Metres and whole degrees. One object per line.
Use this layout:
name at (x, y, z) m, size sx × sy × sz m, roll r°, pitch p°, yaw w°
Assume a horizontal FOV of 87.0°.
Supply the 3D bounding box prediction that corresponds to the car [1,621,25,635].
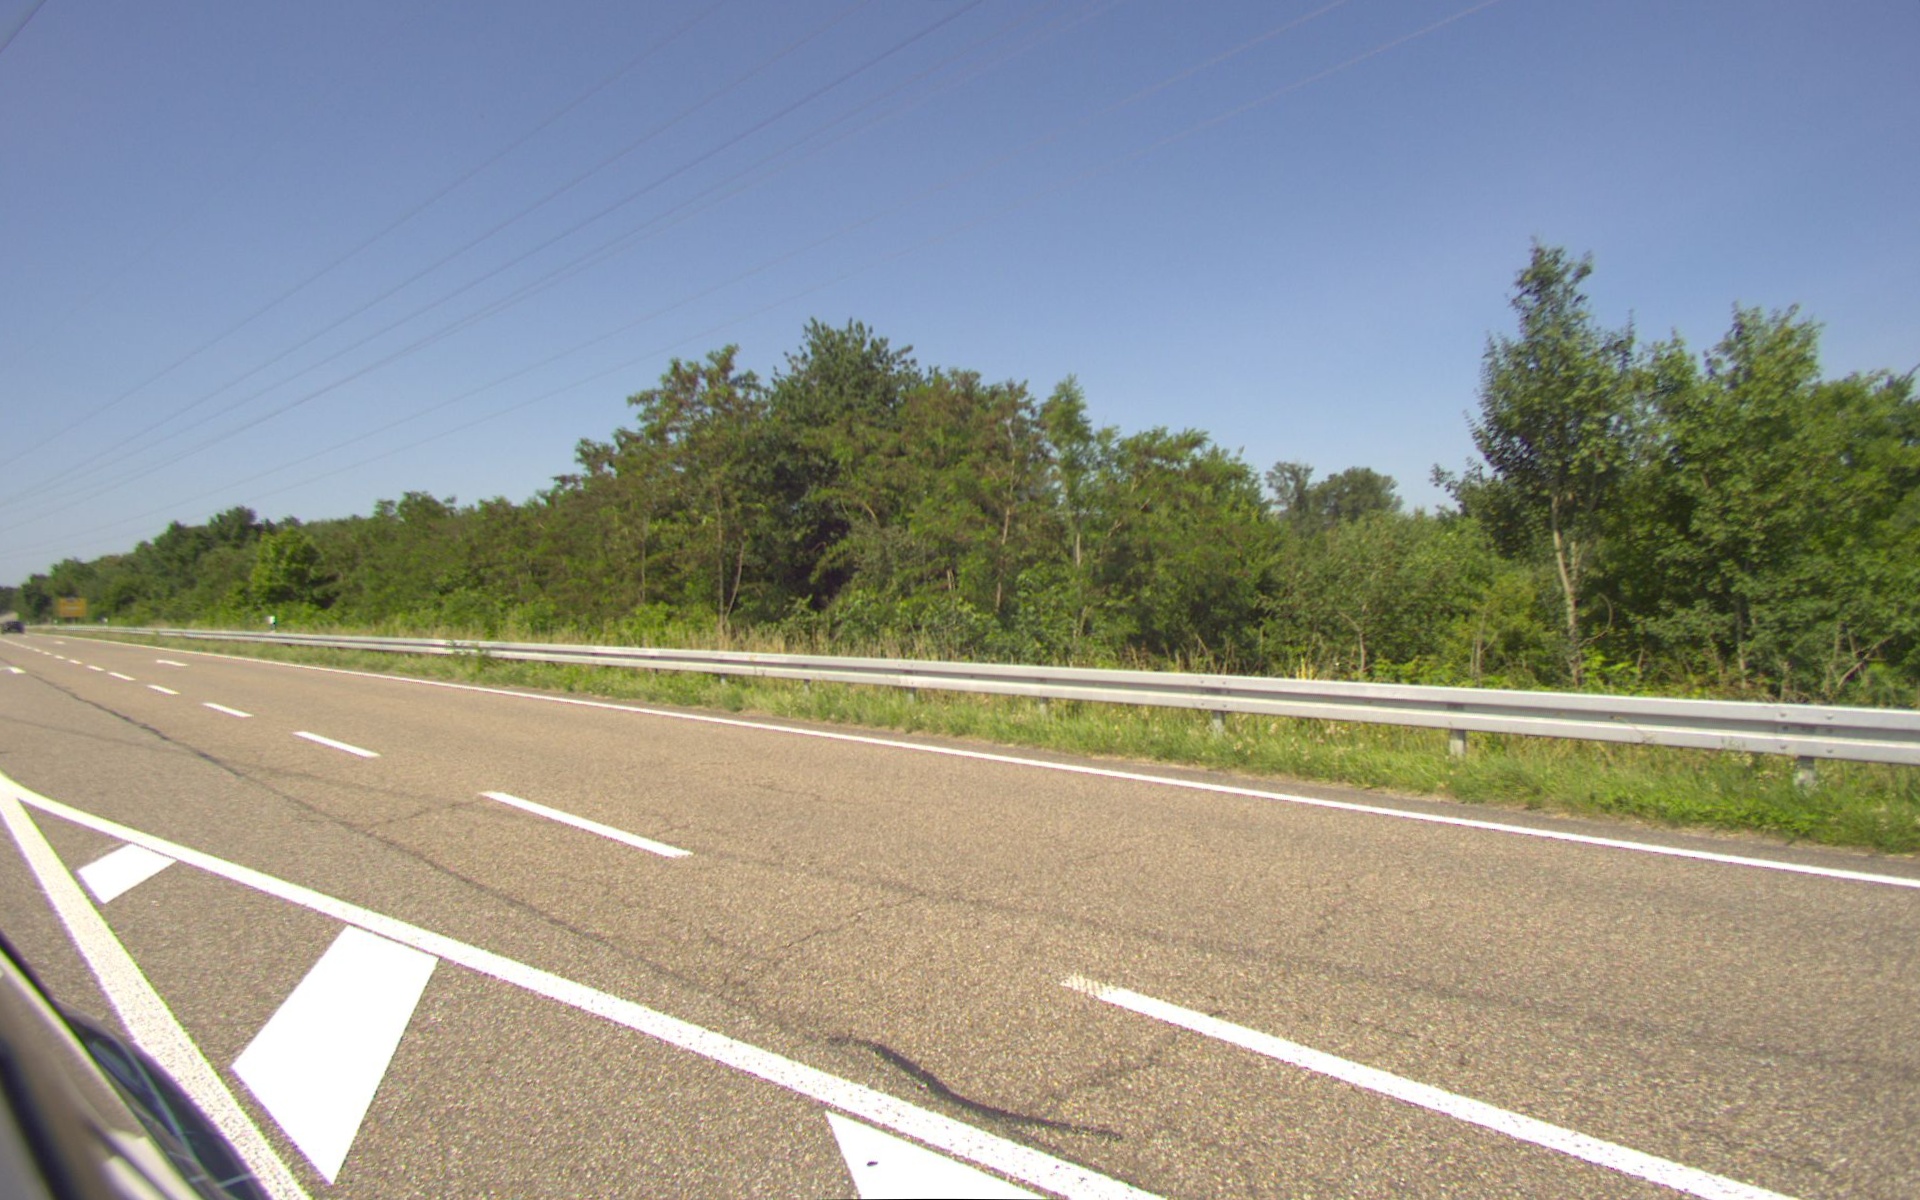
car at (-100.255, 2.961, 107.096) m, size 4.215 × 1.453 × 1.641 m, roll -1°, pitch 0°, yaw 44°
